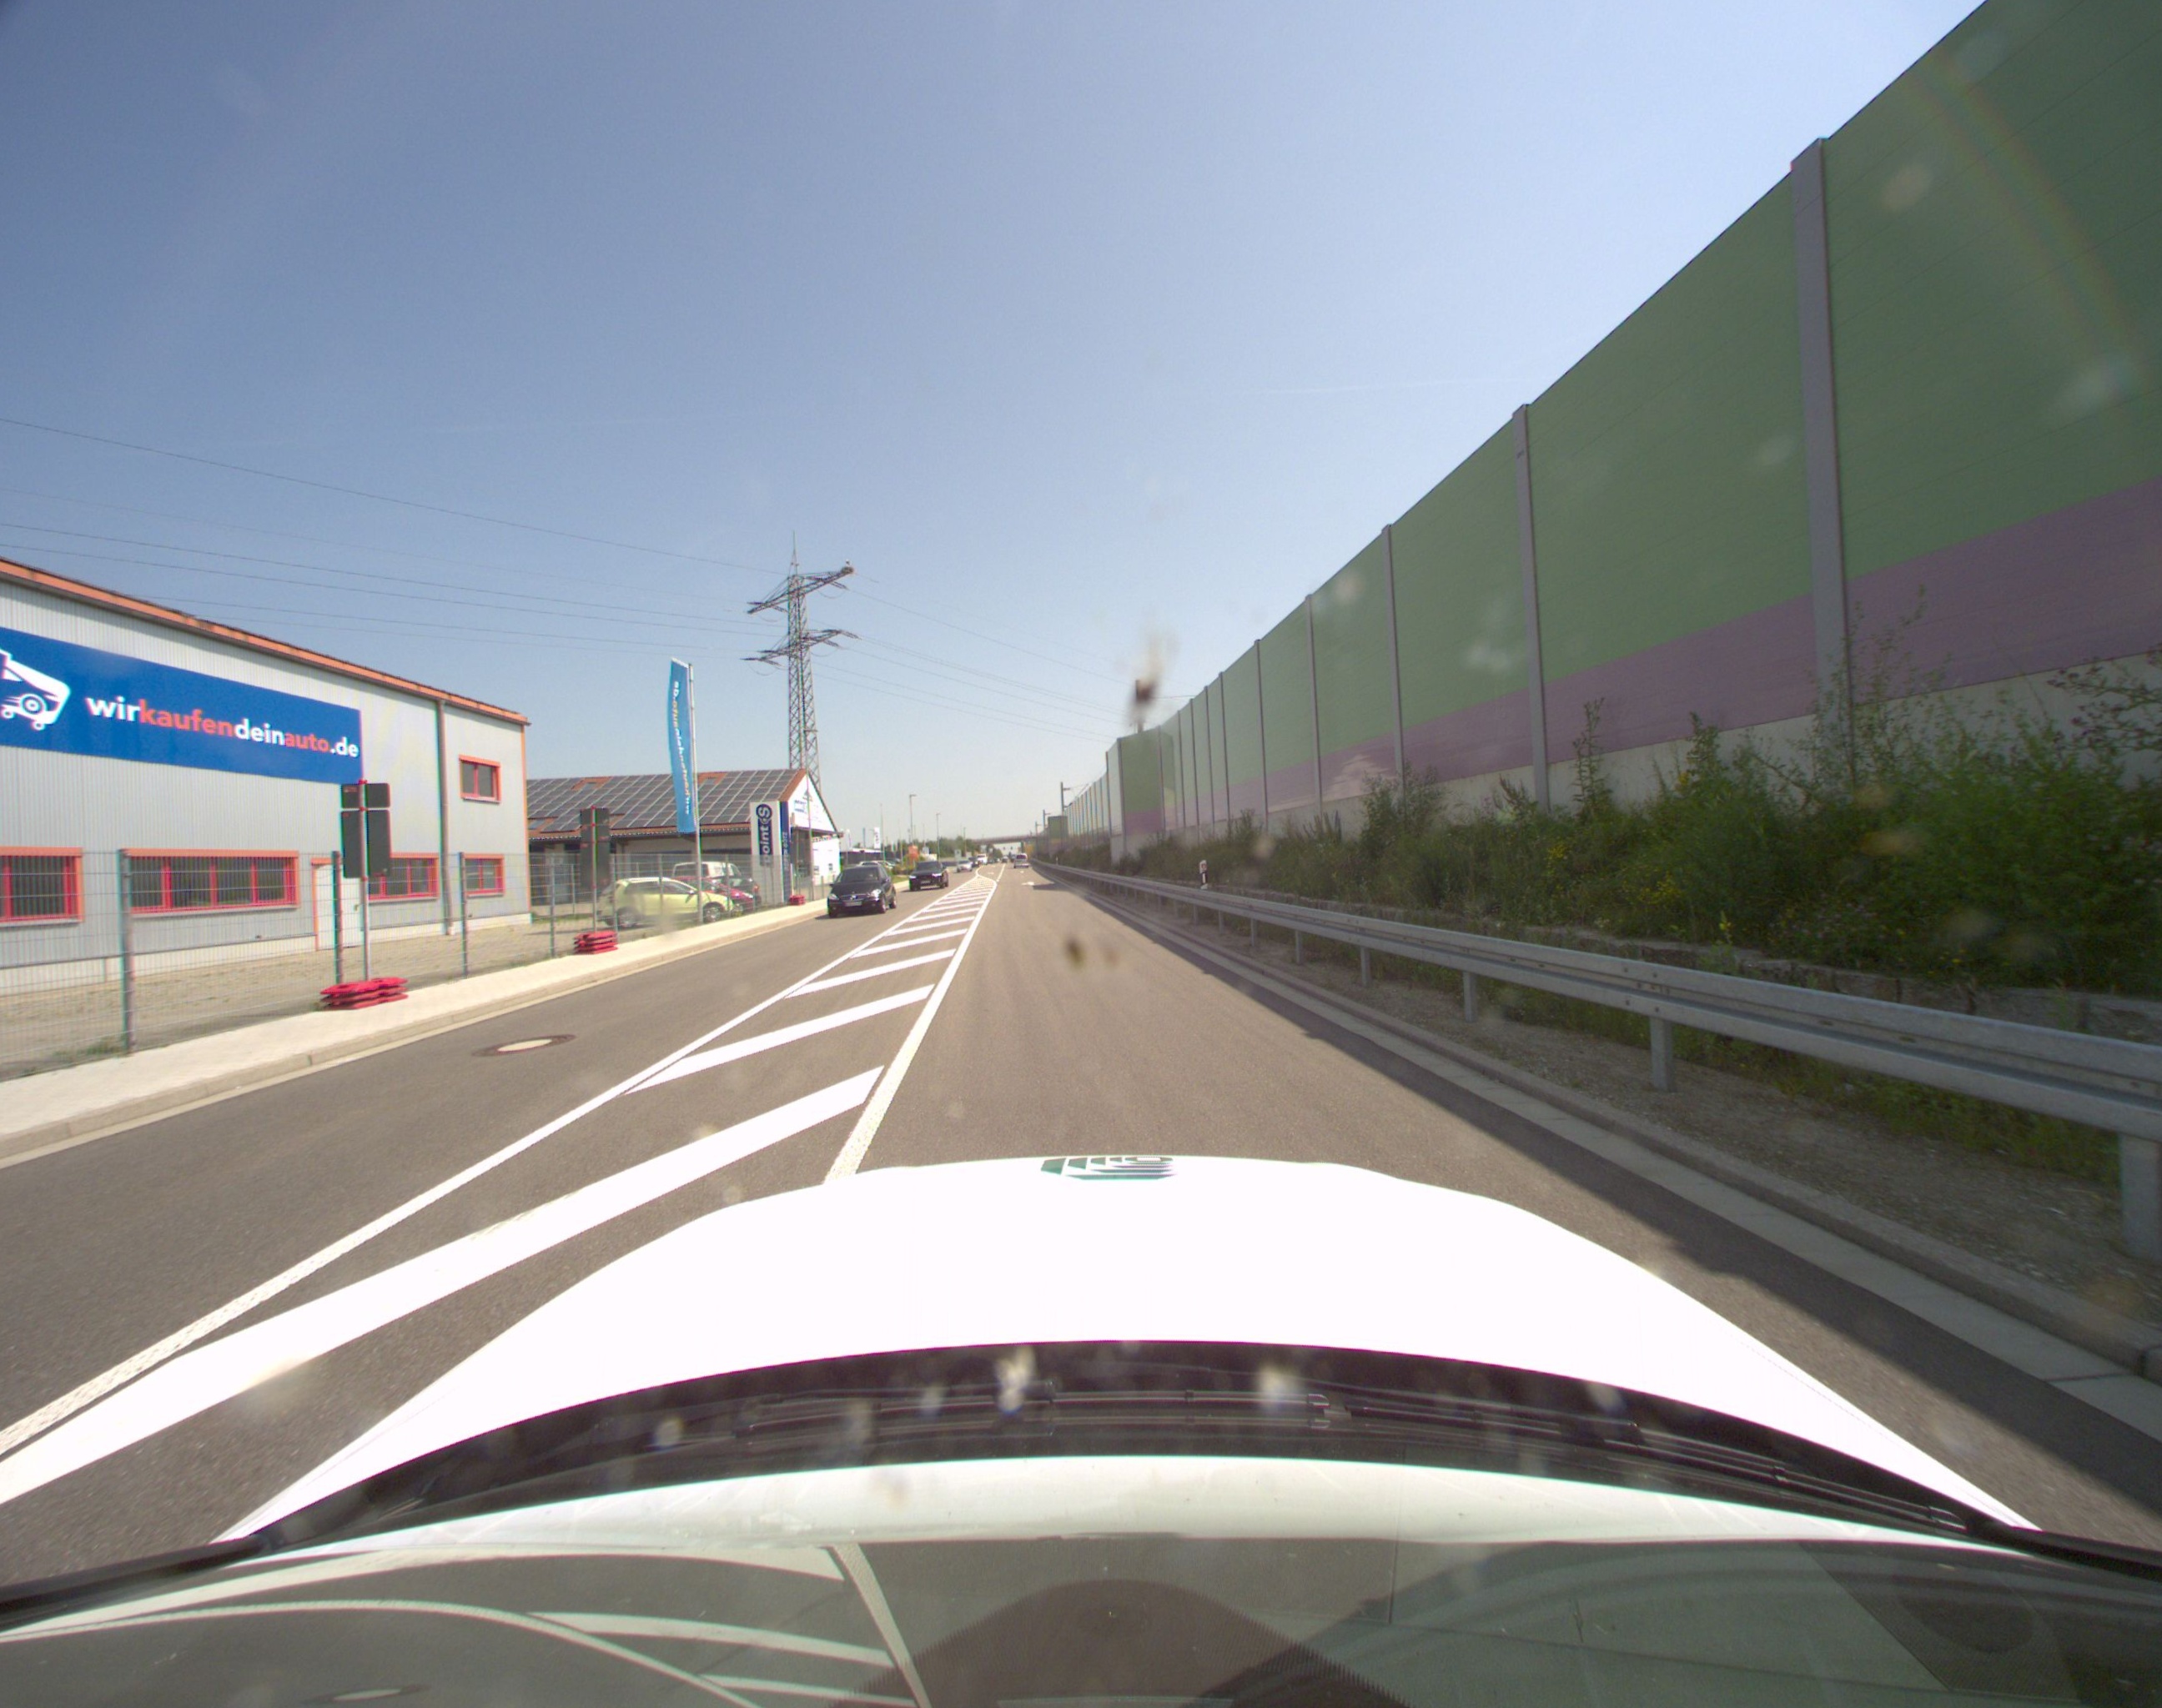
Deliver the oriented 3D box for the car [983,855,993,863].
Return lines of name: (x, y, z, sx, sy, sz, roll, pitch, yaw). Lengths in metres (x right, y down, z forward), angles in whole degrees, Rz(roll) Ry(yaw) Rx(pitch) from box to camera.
car: (-18.499, 1.079, 162.346, 1.668, 1.423, 3.992, -6, 0, -5)

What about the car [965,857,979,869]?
car: (-15.545, 1.285, 116.563, 1.666, 1.600, 3.965, -5, 0, -5)

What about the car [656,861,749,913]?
car: (-16.400, 1.377, 35.581, 1.990, 2.013, 4.673, -4, -1, -4)

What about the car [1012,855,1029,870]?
car: (-7.443, 1.031, 100.496, 1.989, 1.757, 3.995, -3, 0, -3)

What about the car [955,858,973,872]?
car: (-13.973, 1.332, 97.386, 1.762, 1.465, 4.250, -5, 0, -6)

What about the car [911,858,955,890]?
car: (-8.479, 1.096, 46.903, 1.878, 1.616, 4.515, -5, 0, -4)

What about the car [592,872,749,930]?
car: (-12.994, 1.431, 25.915, 4.115, 1.493, 1.723, -3, 0, -41)

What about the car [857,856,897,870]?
car: (-23.253, 1.018, 92.867, 4.219, 1.456, 1.760, 0, 0, -7)

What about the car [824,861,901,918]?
car: (-7.238, 1.117, 27.348, 1.739, 1.593, 3.789, -5, 0, -5)

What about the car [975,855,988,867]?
car: (-17.176, 1.163, 139.950, 1.992, 1.874, 5.155, -4, 0, -8)

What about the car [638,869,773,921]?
car: (-13.195, 1.398, 28.710, 4.019, 1.493, 1.724, -3, 0, -38)
